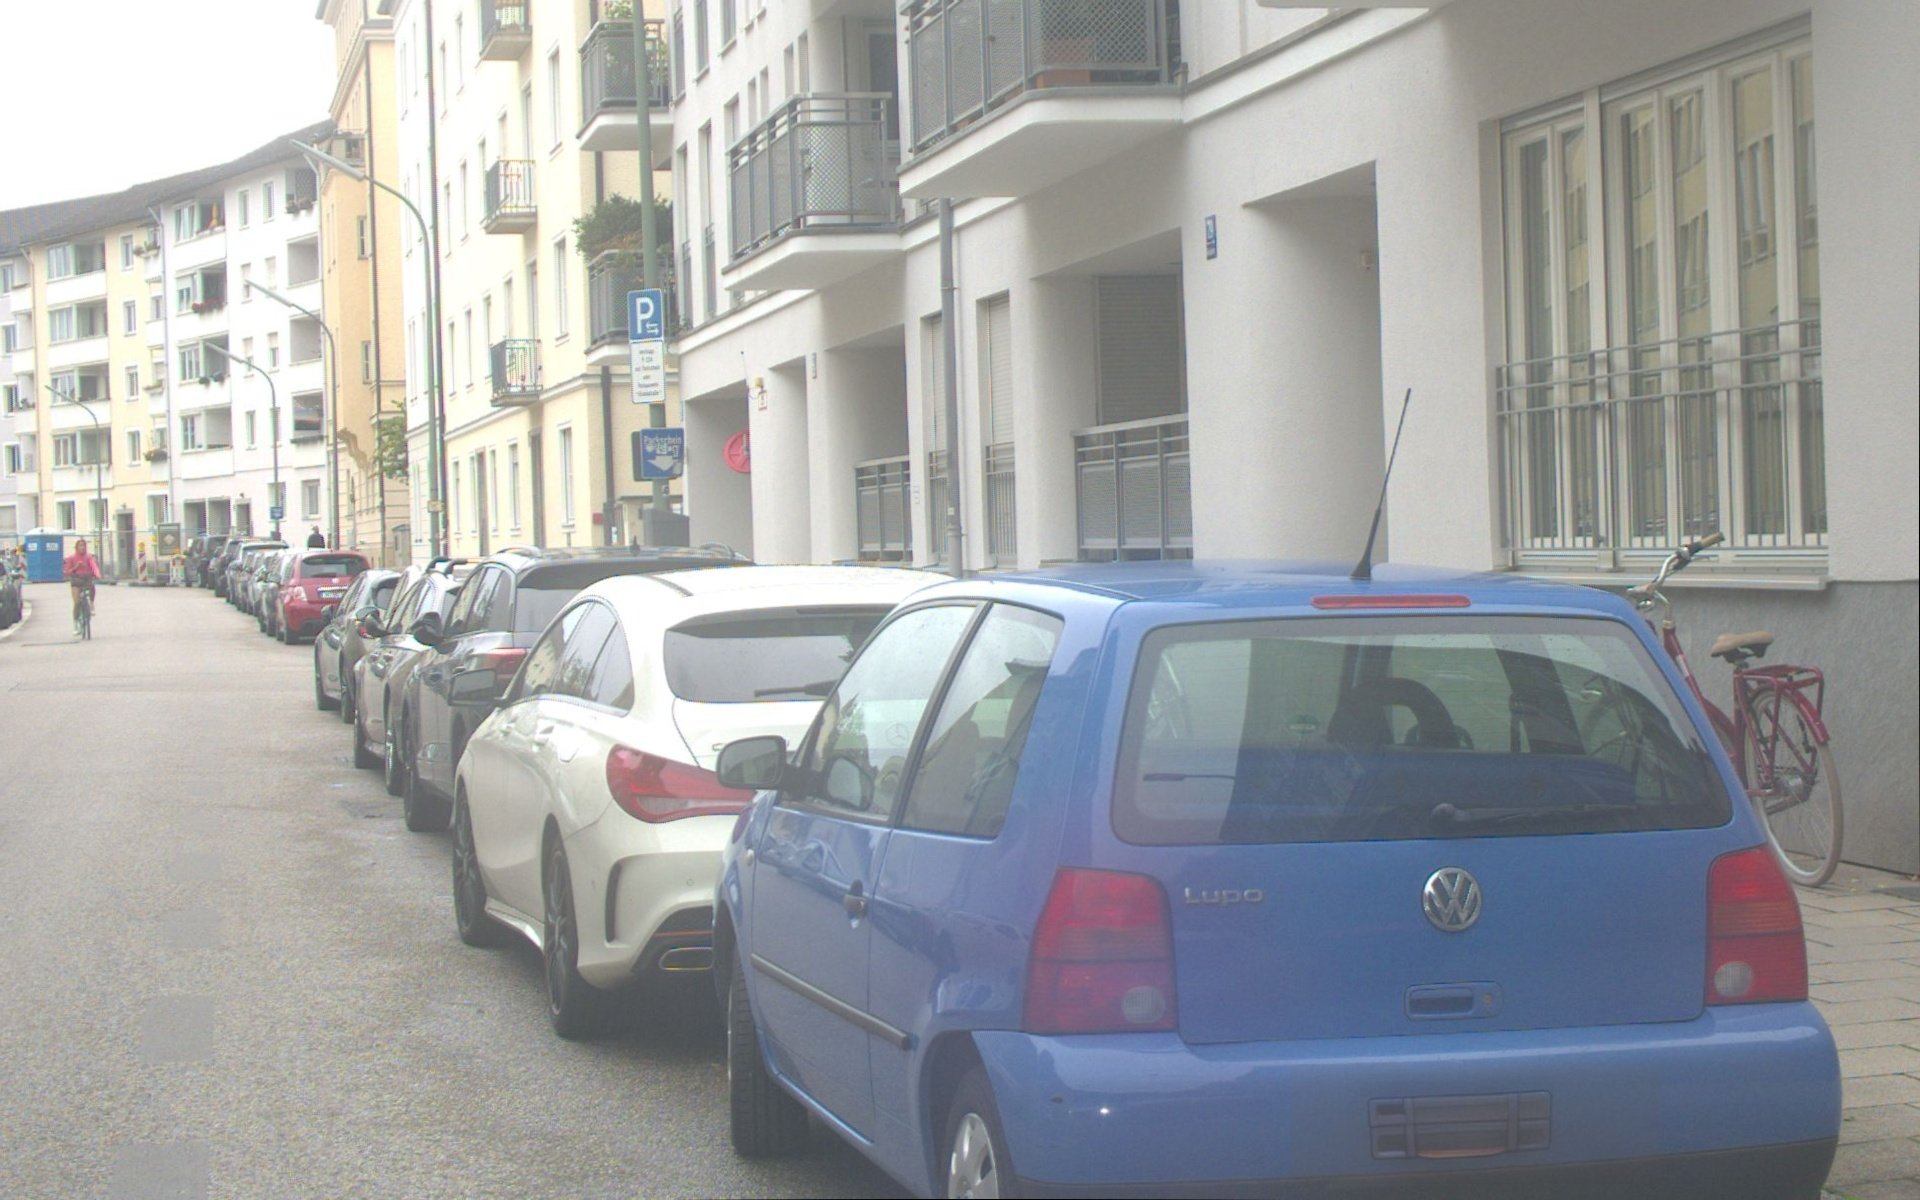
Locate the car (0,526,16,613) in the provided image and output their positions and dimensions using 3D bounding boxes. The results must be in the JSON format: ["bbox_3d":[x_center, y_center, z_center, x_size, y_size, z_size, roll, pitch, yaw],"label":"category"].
[{"bbox_3d":[-19.895,-0.594,68.878,1.701,1.685,4.029,-4,2,-14],"label":"car"}]

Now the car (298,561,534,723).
[{"bbox_3d":[-5.280,0.361,32.984,1.763,1.403,4.080,-2,1,-15],"label":"car"}]

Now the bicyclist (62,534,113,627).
[{"bbox_3d":[-15.115,-0.349,59.567,0.694,1.556,0.967,-3,2,-10],"label":"bicyclist"}]

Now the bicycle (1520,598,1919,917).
[{"bbox_3d":[2.693,0.530,12.268,0.677,1.024,1.835,-2,0,-14],"label":"bicycle"}]

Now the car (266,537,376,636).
[{"bbox_3d":[-10.510,-0.249,56.357,1.595,1.503,3.802,-2,1,-12],"label":"car"}]

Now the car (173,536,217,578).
[{"bbox_3d":[-24.676,-1.401,110.910,1.271,1.294,2.798,-1,1,-14],"label":"car"}]

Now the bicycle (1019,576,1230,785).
[{"bbox_3d":[0.962,0.454,20.753,0.627,1.156,2.128,-2,1,-15],"label":"bicycle"}]

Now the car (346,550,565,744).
[{"bbox_3d":[-4.305,0.346,28.988,1.519,1.525,3.527,0,1,-13],"label":"car"}]

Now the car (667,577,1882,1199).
[{"bbox_3d":[0.409,0.663,7.484,1.618,1.407,3.555,0,0,-12],"label":"car"}]

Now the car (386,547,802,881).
[{"bbox_3d":[-2.007,0.500,17.853,1.603,1.525,3.985,1,1,-14],"label":"car"}]

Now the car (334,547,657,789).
[{"bbox_3d":[-3.357,0.404,24.135,1.733,1.525,4.623,1,1,-14],"label":"car"}]

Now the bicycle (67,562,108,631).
[{"bbox_3d":[-15.118,-0.073,59.568,0.504,1.124,1.774,-3,2,-10],"label":"bicycle"}]

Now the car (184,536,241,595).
[{"bbox_3d":[-21.777,-1.020,100.147,1.473,1.635,4.002,-1,1,-14],"label":"car"}]

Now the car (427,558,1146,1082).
[{"bbox_3d":[-0.786,0.593,11.751,1.657,1.435,4.208,1,1,-14],"label":"car"}]
